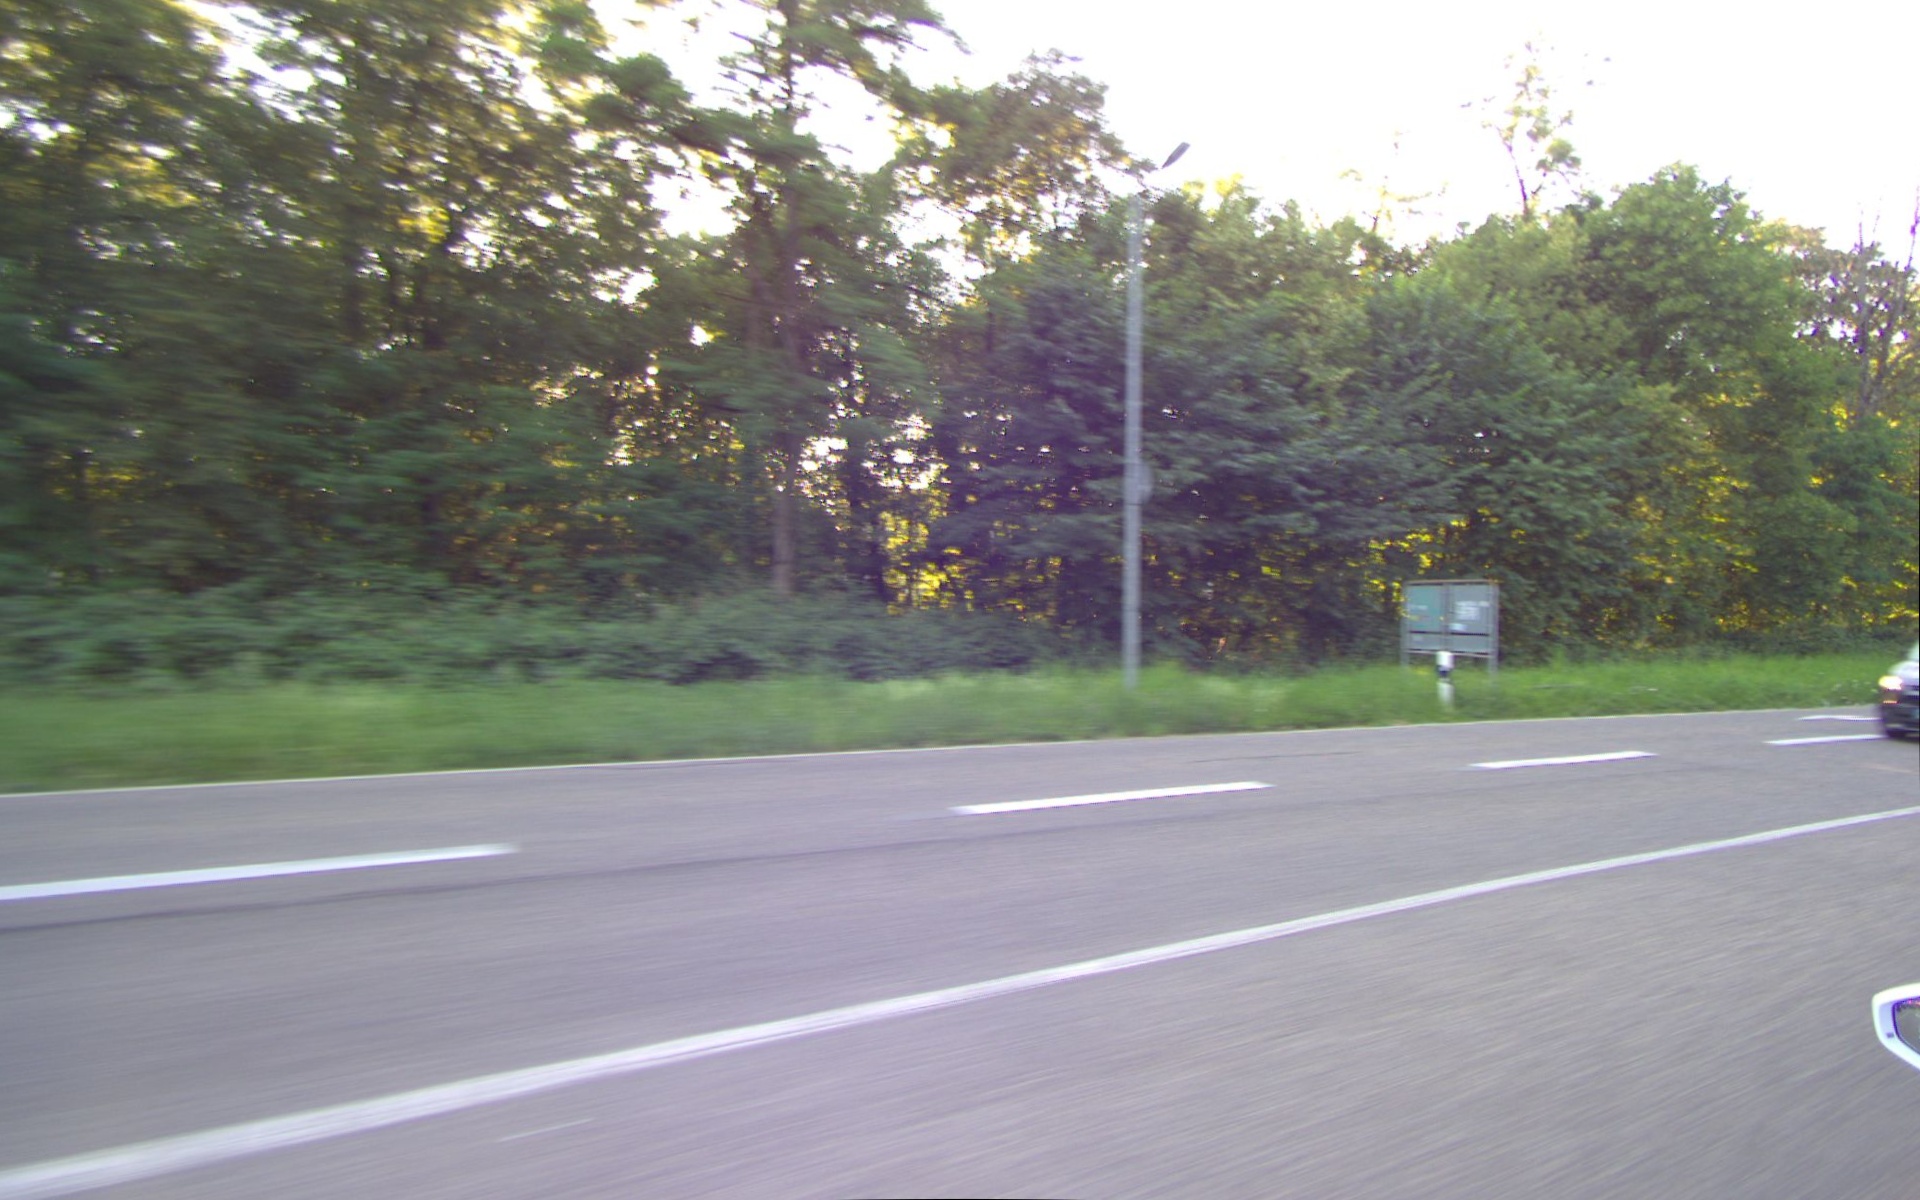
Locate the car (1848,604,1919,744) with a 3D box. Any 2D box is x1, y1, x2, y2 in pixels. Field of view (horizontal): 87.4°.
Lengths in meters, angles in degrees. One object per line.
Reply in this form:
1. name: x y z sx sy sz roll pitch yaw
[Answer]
1. car: 14.685 1.034 13.970 4.685 1.824 1.837 2 0 -26
